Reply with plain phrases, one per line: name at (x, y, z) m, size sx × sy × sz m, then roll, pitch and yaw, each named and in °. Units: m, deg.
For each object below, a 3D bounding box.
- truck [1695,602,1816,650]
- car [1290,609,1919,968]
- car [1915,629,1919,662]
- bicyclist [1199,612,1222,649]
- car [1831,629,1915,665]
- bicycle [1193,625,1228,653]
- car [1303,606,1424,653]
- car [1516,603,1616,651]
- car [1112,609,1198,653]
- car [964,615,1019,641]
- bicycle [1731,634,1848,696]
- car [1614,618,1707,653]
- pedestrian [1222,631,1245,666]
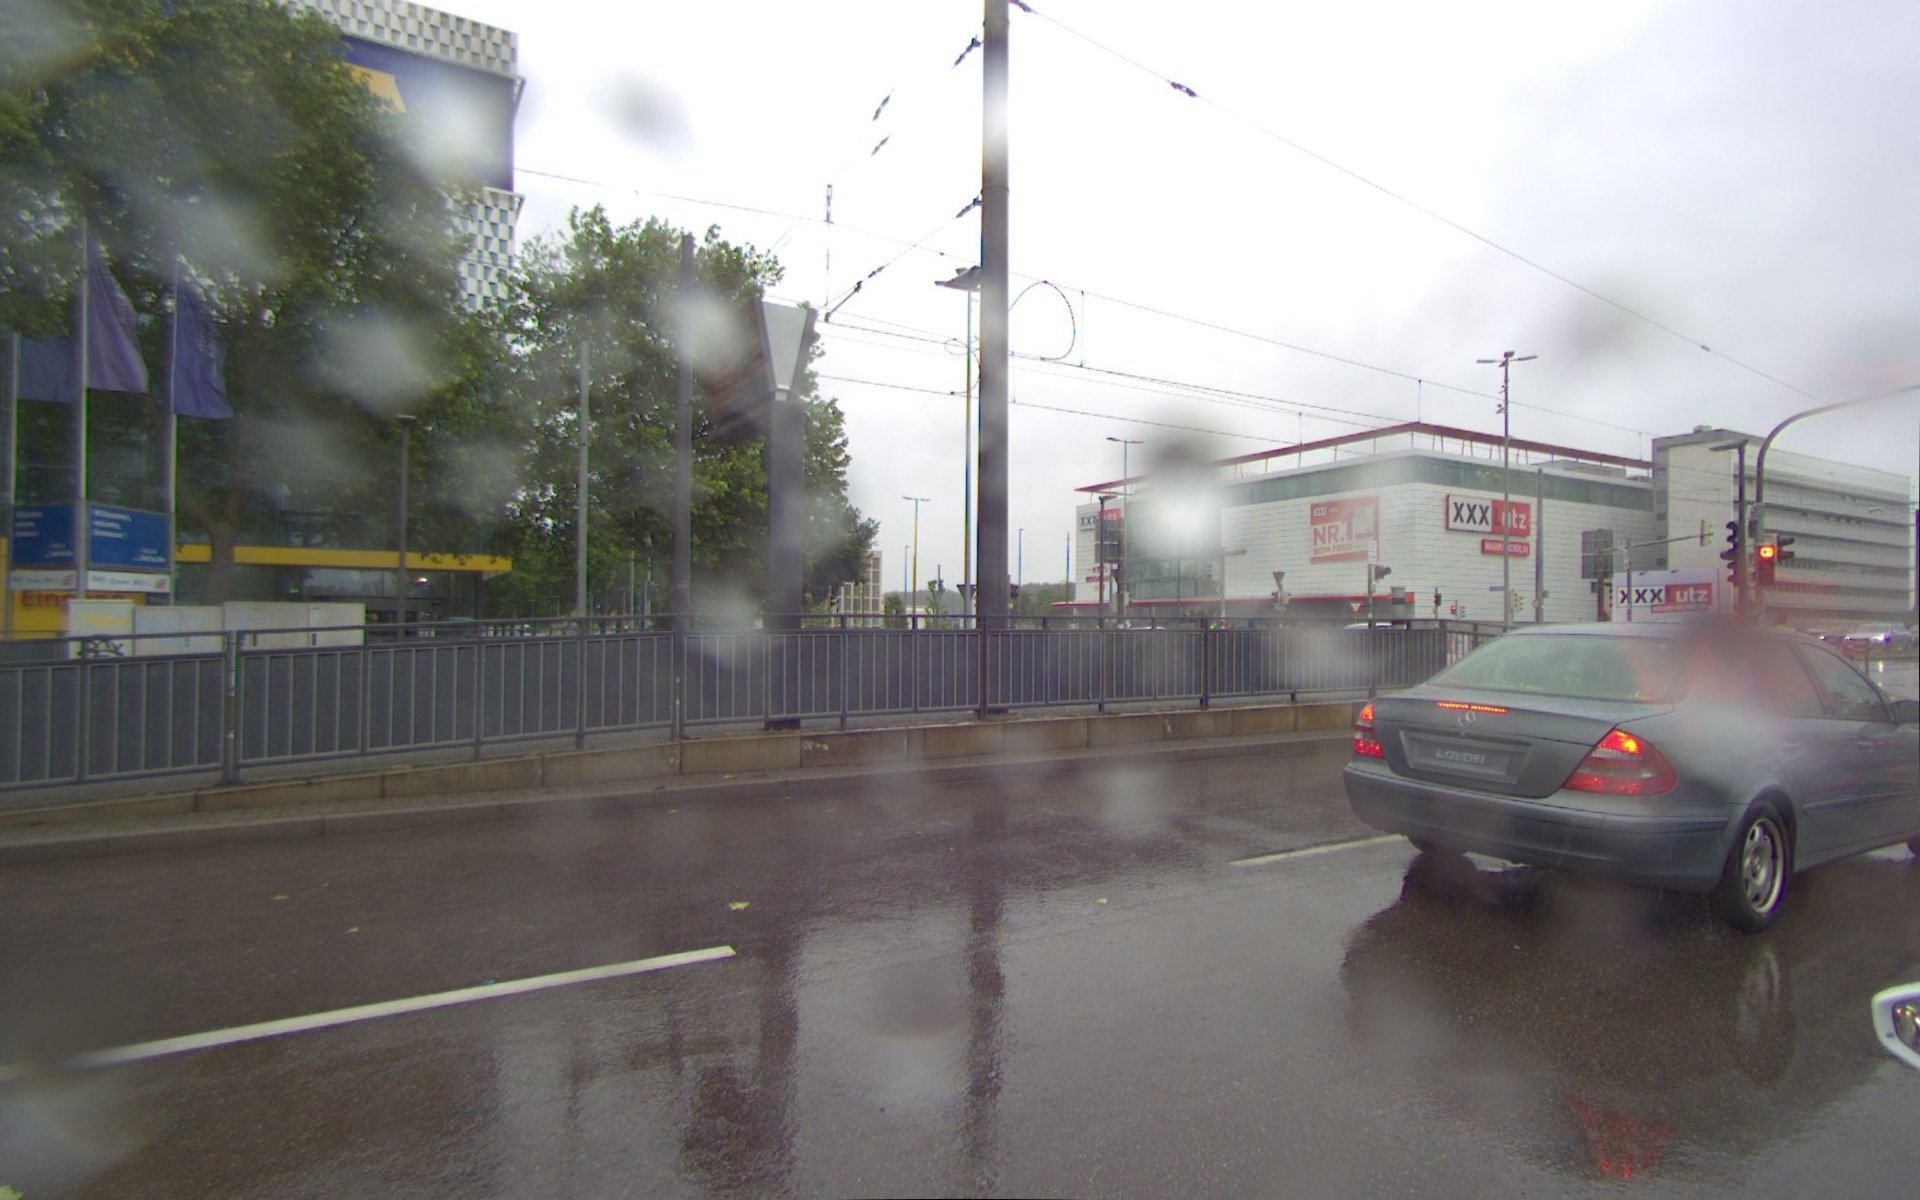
truck at (41.816, 1.393, 52.740) m, size 7.542 × 2.309 × 2.341 m, roll 2°, pitch 0°, yaw -30°
car at (4.236, 0.846, 6.049) m, size 4.594 × 1.417 × 1.752 m, roll 2°, pitch 0°, yaw -33°
car at (55.540, 2.599, 56.075) m, size 3.947 × 1.851 × 1.923 m, roll 2°, pitch 0°, yaw -26°
bicyclist at (9.835, 1.202, 39.432) m, size 0.643 × 1.418 × 0.529 m, roll 2°, pitch 0°, yaw -33°
car at (47.281, 2.438, 51.997) m, size 3.947 × 1.722 × 1.886 m, roll 2°, pitch 0°, yaw -26°
bicycle at (9.827, 1.532, 39.418) m, size 1.493 × 1.075 × 0.408 m, roll 2°, pitch 0°, yaw -33°
car at (13.869, 1.014, 34.515) m, size 3.823 × 1.512 × 1.693 m, roll 2°, pitch 0°, yaw -25°
car at (27.122, 1.206, 44.932) m, size 3.949 × 1.929 × 1.986 m, roll 3°, pitch 1°, yaw -27°
car at (9.788, 1.553, 50.715) m, size 1.976 × 2.040 × 4.295 m, roll 2°, pitch 0°, yaw -29°
car at (2.189, 1.934, 70.211) m, size 3.723 × 1.645 × 2.001 m, roll 2°, pitch 0°, yaw 2°
bicycle at (16.855, 1.297, 20.457) m, size 0.409 × 1.048 × 1.742 m, roll 2°, pitch 3°, yaw -31°
car at (29.780, 1.526, 42.673) m, size 3.780 × 1.354 × 1.582 m, roll 2°, pitch 0°, yaw -26°
pedestrian at (12.747, 2.261, 46.878) m, size 0.863 × 1.557 × 0.560 m, roll 2°, pitch 0°, yaw -31°
